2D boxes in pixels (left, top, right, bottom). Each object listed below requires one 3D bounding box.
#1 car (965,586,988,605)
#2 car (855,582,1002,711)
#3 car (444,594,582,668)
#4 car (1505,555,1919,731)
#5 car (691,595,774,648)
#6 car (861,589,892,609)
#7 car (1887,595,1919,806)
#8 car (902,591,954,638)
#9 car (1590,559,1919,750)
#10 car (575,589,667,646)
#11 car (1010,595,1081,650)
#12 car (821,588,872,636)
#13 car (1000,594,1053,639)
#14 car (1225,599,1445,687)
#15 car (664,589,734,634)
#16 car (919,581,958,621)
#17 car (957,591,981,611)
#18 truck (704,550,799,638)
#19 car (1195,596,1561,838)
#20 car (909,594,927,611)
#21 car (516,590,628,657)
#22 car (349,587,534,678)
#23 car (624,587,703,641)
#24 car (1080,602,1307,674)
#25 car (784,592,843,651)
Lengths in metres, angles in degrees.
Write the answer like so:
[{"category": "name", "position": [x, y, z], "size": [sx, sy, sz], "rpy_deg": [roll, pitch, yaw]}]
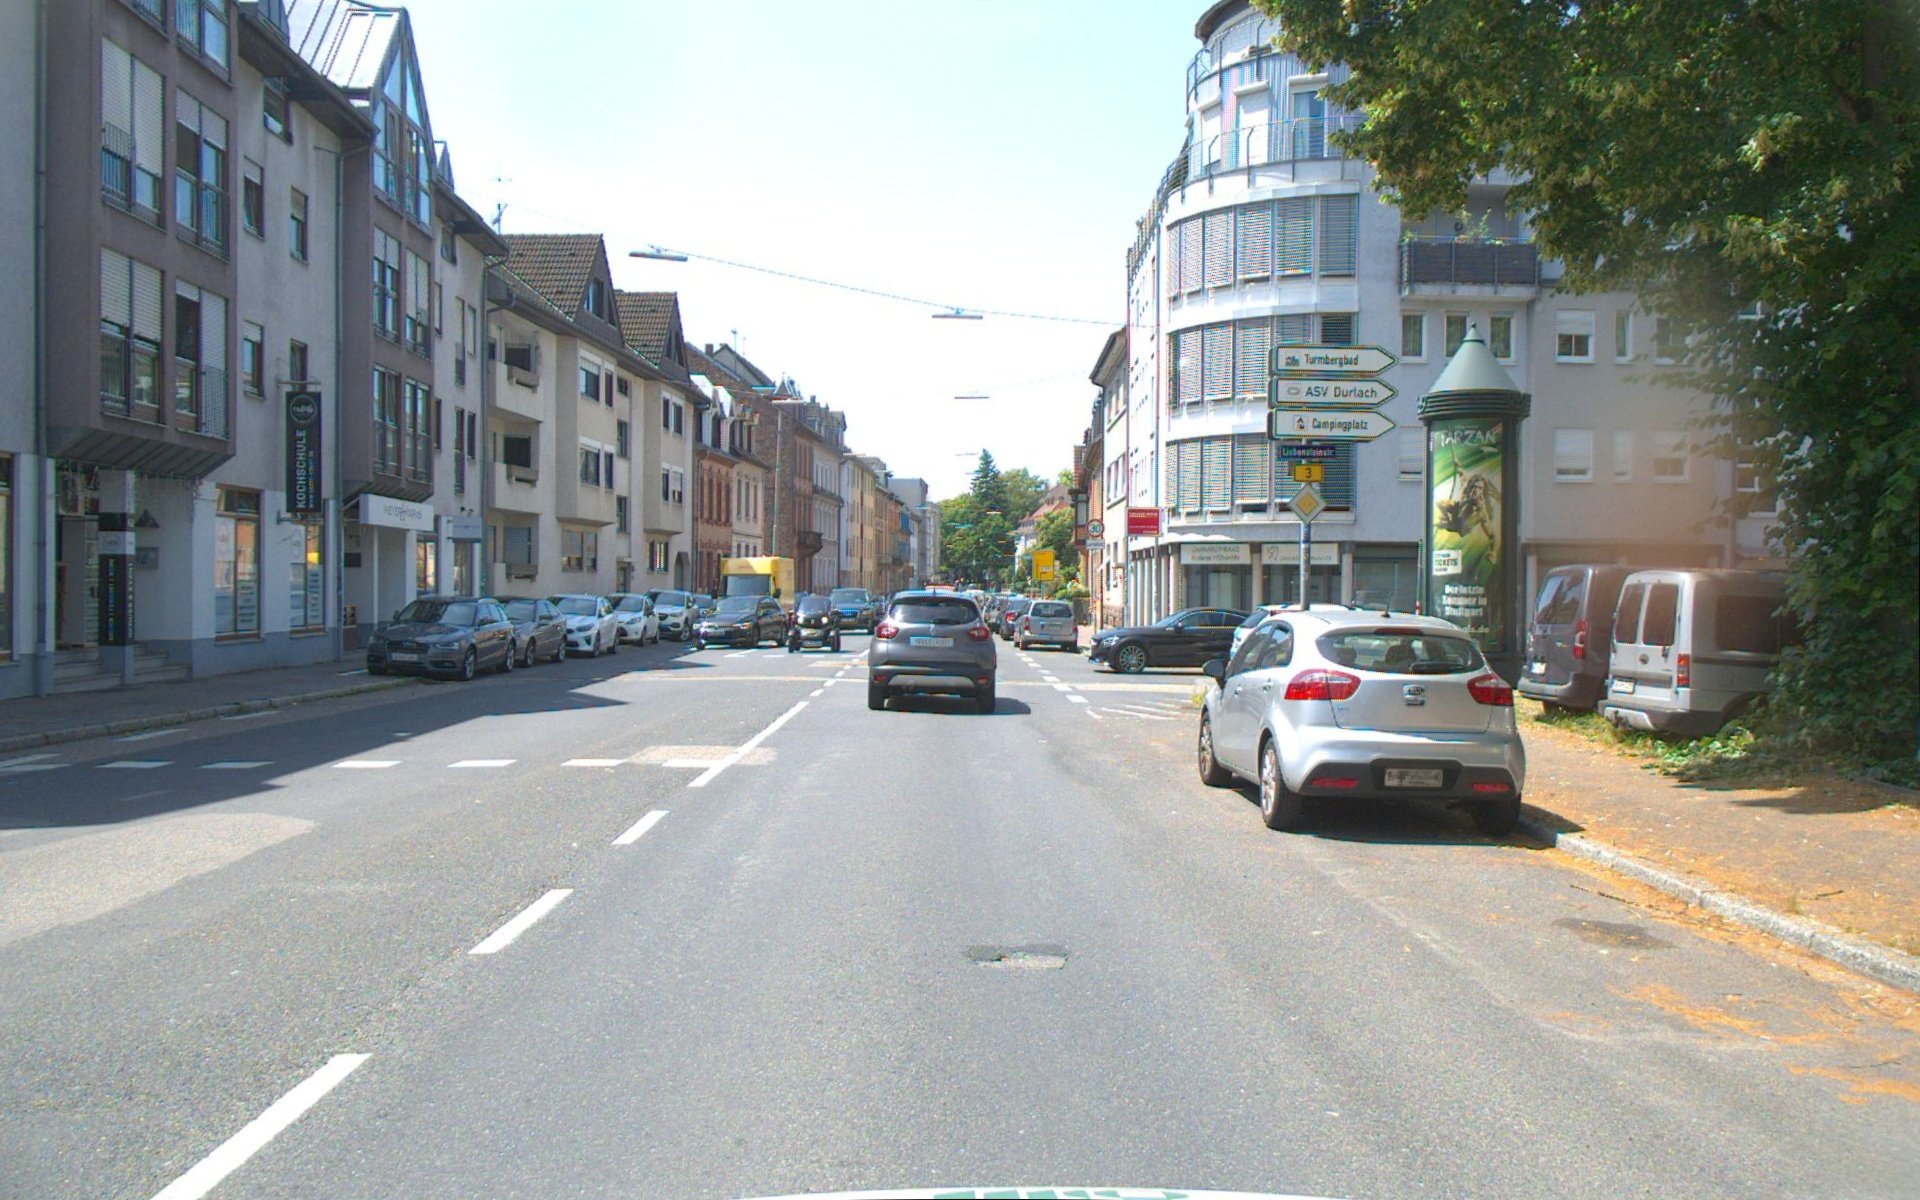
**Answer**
[{"category": "car", "position": [1.403, -0.418, 141.535], "size": [1.726, 1.587, 3.944], "rpy_deg": [0, 0, 4]}, {"category": "car", "position": [-0.535, 0.591, 23.424], "size": [1.710, 1.644, 3.995], "rpy_deg": [1, 0, -6]}, {"category": "car", "position": [-9.642, 0.637, 36.017], "size": [1.802, 1.408, 4.326], "rpy_deg": [3, 0, -1]}, {"category": "car", "position": [8.358, 0.458, 18.389], "size": [3.906, 1.781, 2.016], "rpy_deg": [1, 0, -2]}, {"category": "car", "position": [-6.375, 0.579, 46.692], "size": [1.706, 1.444, 4.223], "rpy_deg": [0, 0, 1]}, {"category": "car", "position": [-6.206, -0.065, 123.497], "size": [1.801, 1.447, 4.559], "rpy_deg": [-2, 0, 3]}, {"category": "car", "position": [8.450, 0.725, 10.705], "size": [3.907, 1.422, 1.807], "rpy_deg": [1, 0, -3]}, {"category": "car", "position": [-1.143, 0.526, 61.018], "size": [1.775, 1.649, 4.442], "rpy_deg": [-1, 0, 1]}, {"category": "car", "position": [8.122, 0.485, 15.669], "size": [3.690, 1.696, 1.662], "rpy_deg": [0, 0, -6]}, {"category": "car", "position": [-9.921, 0.495, 48.750], "size": [1.802, 1.515, 4.385], "rpy_deg": [3, 0, -1]}, {"category": "car", "position": [2.463, 0.615, 48.546], "size": [1.644, 1.480, 4.141], "rpy_deg": [2, 0, -2]}, {"category": "car", "position": [-4.114, 0.415, 60.013], "size": [1.776, 1.649, 4.438], "rpy_deg": [-1, 0, -4]}, {"category": "car", "position": [2.273, 0.544, 57.537], "size": [1.676, 1.499, 4.438], "rpy_deg": [0, 0, 0]}, {"category": "car", "position": [7.225, 0.816, 32.081], "size": [3.905, 1.582, 1.570], "rpy_deg": [1, 0, -1]}, {"category": "car", "position": [-9.499, 0.401, 60.465], "size": [1.802, 1.514, 4.386], "rpy_deg": [3, 0, 0]}, {"category": "car", "position": [-1.109, 0.019, 86.681], "size": [1.952, 2.049, 4.466], "rpy_deg": [0, 0, 0]}, {"category": "car", "position": [0.773, 0.094, 134.083], "size": [1.726, 1.587, 3.944], "rpy_deg": [0, 0, 4]}, {"category": "truck", "position": [-7.119, -0.206, 57.242], "size": [2.179, 2.819, 7.564], "rpy_deg": [-1, 0, 1]}, {"category": "car", "position": [2.950, 0.749, 12.511], "size": [1.731, 1.511, 3.890], "rpy_deg": [1, 0, -1]}, {"category": "car", "position": [-4.289, 0.239, 168.983], "size": [1.866, 1.648, 4.301], "rpy_deg": [-2, 0, -1]}, {"category": "car", "position": [-9.615, 0.557, 41.311], "size": [1.803, 1.515, 4.385], "rpy_deg": [3, 0, -2]}, {"category": "car", "position": [-9.546, 0.555, 30.883], "size": [1.802, 1.473, 4.969], "rpy_deg": [3, 0, 0]}, {"category": "car", "position": [-9.634, 0.444, 54.010], "size": [1.802, 1.623, 4.385], "rpy_deg": [3, 0, -1]}, {"category": "car", "position": [4.934, 0.790, 35.339], "size": [4.490, 1.389, 1.999], "rpy_deg": [1, 0, -3]}, {"category": "car", "position": [-3.796, 0.540, 42.890], "size": [1.468, 1.484, 2.719], "rpy_deg": [0, 0, -5]}]
